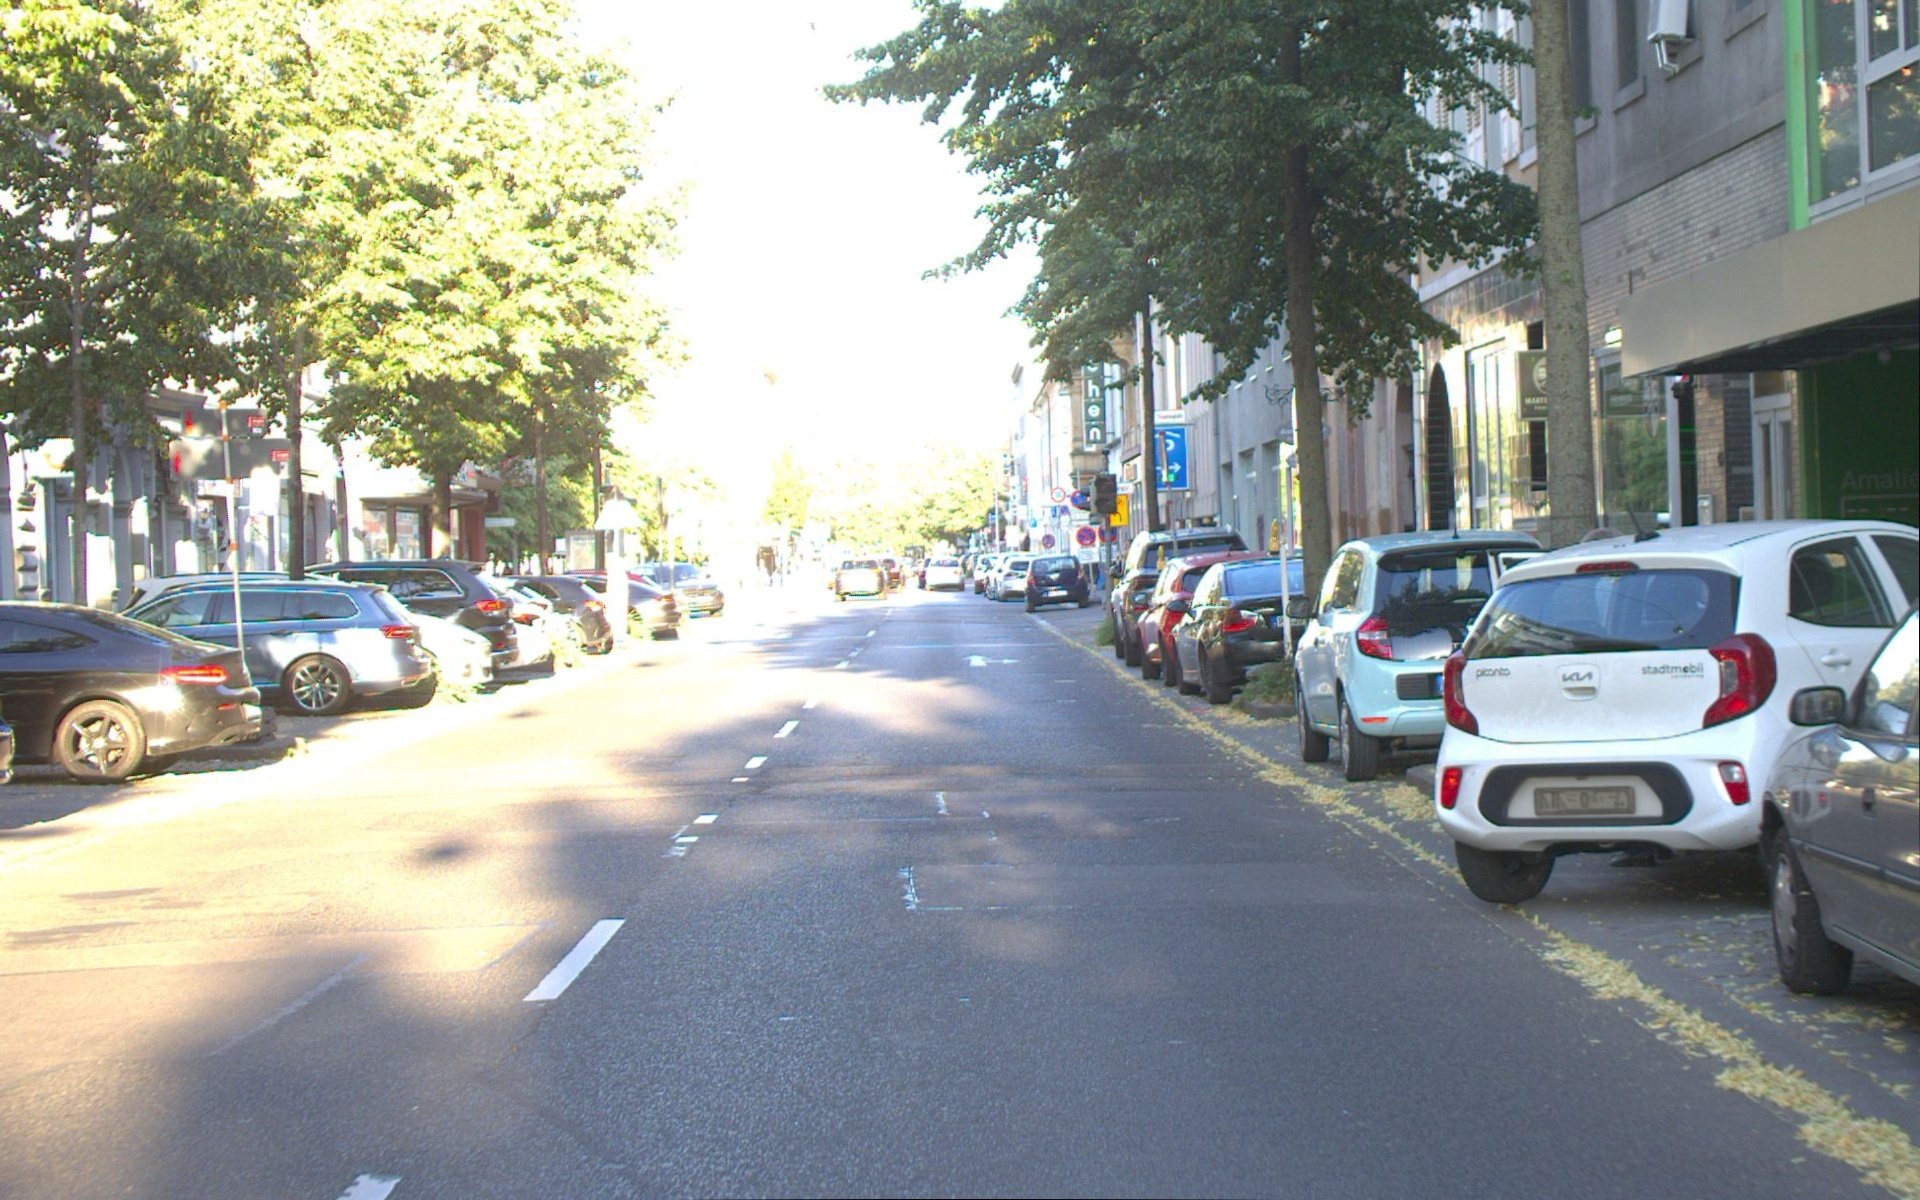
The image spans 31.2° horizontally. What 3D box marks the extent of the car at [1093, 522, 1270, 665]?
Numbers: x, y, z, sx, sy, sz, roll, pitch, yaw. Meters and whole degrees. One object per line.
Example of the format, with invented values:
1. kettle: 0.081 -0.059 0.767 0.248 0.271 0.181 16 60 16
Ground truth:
1. car: 2.972 -0.122 47.060 2.038 1.731 4.711 -4 1 0

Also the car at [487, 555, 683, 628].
1. car: -8.172 -0.187 75.174 4.072 1.531 1.884 -1 1 0

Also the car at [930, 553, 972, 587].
1. car: -0.424 -1.393 161.561 1.896 1.576 4.000 0 0 -1

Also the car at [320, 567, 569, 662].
1. car: -8.130 0.220 54.468 3.737 1.439 1.806 -1 1 -3

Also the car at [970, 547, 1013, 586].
1. car: 1.331 -1.431 147.229 1.729 1.645 4.285 0 0 -1

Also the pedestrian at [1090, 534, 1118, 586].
1. pedestrian: 4.786 -1.340 114.608 0.772 1.705 1.042 -3 1 -1

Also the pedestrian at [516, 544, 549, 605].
1. pedestrian: -10.910 -0.648 87.759 0.734 1.523 0.875 0 -1 0

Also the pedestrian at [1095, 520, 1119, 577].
1. pedestrian: 4.161 -1.443 97.234 0.604 1.594 0.774 -1 1 -1

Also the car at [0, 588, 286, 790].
1. car: -7.619 0.700 26.996 4.274 1.479 1.744 -1 1 0

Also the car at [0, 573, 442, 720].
1. car: -8.092 0.490 37.905 4.547 1.479 1.744 -1 1 -4

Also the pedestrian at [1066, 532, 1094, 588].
1. pedestrian: 3.992 -1.321 114.538 0.772 1.821 1.011 -3 1 -1

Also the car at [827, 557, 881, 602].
1. car: -3.953 -0.770 128.618 1.896 1.644 4.104 -1 0 -1

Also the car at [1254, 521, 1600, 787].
1. car: 3.034 0.303 22.992 1.691 1.537 3.553 -4 1 -1

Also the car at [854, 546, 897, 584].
1. car: -3.802 -1.568 155.237 1.896 1.644 4.104 -1 0 -1

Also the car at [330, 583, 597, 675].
1. car: -8.207 0.469 57.073 4.097 1.399 1.843 -1 1 1

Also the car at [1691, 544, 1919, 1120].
1. car: 3.430 0.566 9.785 1.826 1.468 3.991 -5 1 2

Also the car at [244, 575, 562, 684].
1. car: -7.666 0.390 47.572 4.149 1.416 1.767 -1 1 -2

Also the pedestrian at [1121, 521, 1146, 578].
1. pedestrian: 4.908 -1.433 97.269 0.604 1.594 0.774 -1 1 -1

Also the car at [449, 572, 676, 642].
1. car: -8.275 0.134 71.827 4.570 1.403 1.822 -1 1 -2

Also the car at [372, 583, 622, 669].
1. car: -7.943 0.443 59.249 4.106 1.399 1.884 -1 1 -3

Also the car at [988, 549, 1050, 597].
1. car: 1.914 -0.879 113.254 1.759 1.531 4.822 0 0 -2

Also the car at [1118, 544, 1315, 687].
1. car: 2.957 0.149 40.319 1.729 1.482 3.901 -4 1 -3

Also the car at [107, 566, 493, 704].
1. car: -8.074 0.408 42.347 4.406 1.590 1.890 -1 1 -1

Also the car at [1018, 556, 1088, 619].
1. car: 2.536 -0.365 94.570 1.759 1.531 4.000 -5 1 1

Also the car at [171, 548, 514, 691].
1. car: -7.948 0.231 44.550 4.149 1.767 1.890 -1 1 -2

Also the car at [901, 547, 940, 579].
1. car: -2.018 -1.876 174.811 1.896 1.575 3.852 -1 1 -1

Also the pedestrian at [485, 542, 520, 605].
1. pedestrian: -11.658 -0.671 87.589 0.772 1.602 0.875 0 -1 0

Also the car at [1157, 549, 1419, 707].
1. car: 3.284 0.239 35.265 1.951 1.385 4.425 -4 1 -3

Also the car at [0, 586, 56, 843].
1. car: -7.771 0.713 20.556 4.274 1.479 1.744 -1 1 -2

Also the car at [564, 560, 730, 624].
1. car: -9.151 -0.241 100.766 4.447 1.686 1.867 -2 2 11

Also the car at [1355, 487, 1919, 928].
1. car: 3.468 0.369 14.781 1.664 1.578 3.615 -4 1 41
